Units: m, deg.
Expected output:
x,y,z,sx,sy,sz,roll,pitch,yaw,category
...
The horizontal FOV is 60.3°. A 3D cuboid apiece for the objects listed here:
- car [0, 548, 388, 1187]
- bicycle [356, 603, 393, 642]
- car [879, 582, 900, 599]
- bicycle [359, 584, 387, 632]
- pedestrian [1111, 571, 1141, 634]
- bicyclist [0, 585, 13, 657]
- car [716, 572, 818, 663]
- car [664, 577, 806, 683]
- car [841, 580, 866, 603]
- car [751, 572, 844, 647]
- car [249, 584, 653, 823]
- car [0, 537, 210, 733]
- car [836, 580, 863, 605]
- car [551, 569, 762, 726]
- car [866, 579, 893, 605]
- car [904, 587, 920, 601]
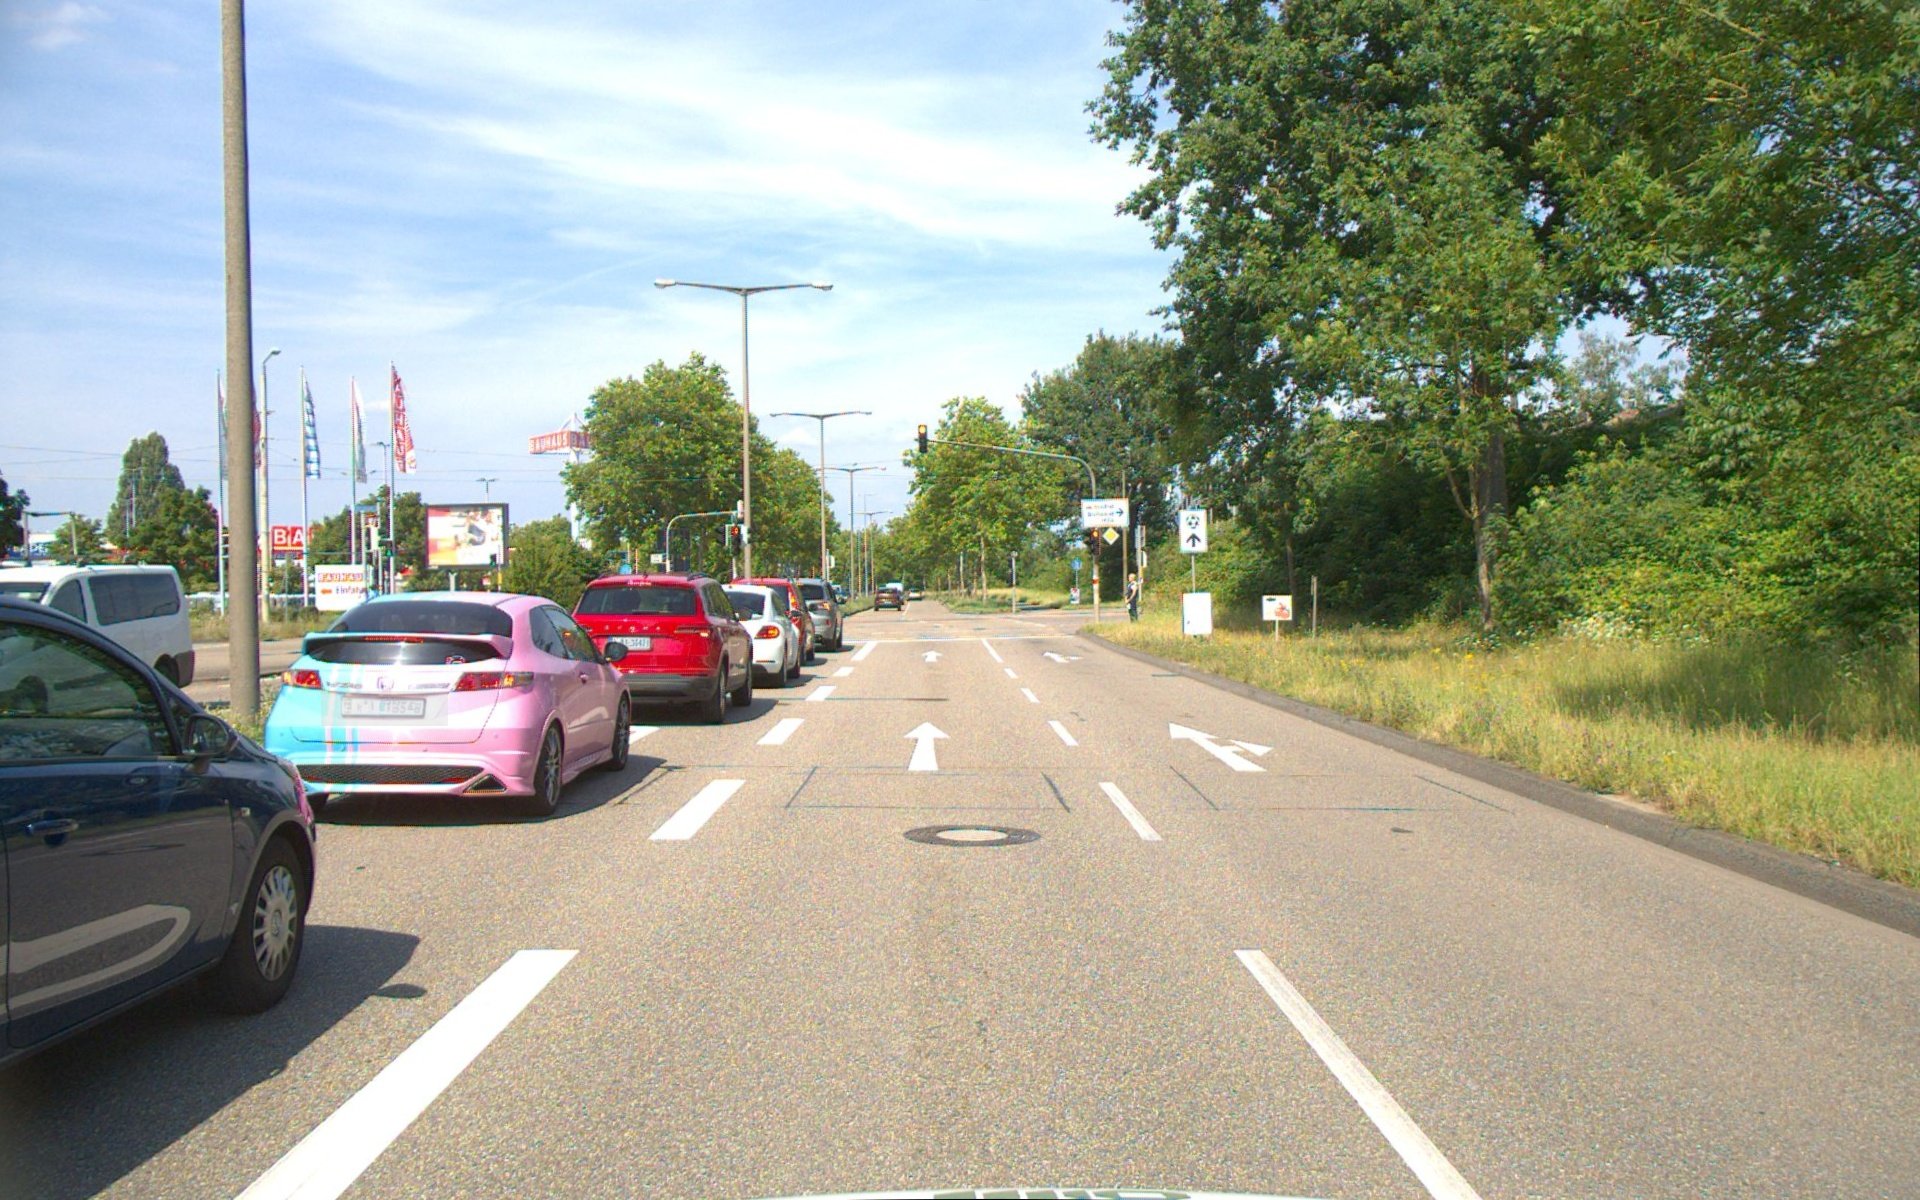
x,y,z,sx,sy,sz,roll,pitch,yaw,category
-3.076,0.615,4.661,1.593,1.509,4.047,1,0,-2,car
-20.422,0.773,57.724,0.659,1.278,2.244,-2,0,-6,bicycle
-7.252,-0.983,169.954,1.953,1.738,4.263,-1,0,-1,car
-20.427,0.264,57.556,0.659,1.643,0.991,-2,0,-6,bicycle
5.302,0.071,52.868,0.821,1.966,0.771,-1,2,-5,pedestrian
-23.940,0.526,40.779,0.890,1.745,0.772,-2,3,-37,bicyclist
-3.697,0.340,32.198,1.595,1.623,3.916,-1,-1,-2,car
-3.412,0.414,25.707,1.730,1.505,4.134,0,0,-2,car
-9.287,-0.722,144.513,1.953,1.928,4.375,-1,1,-1,car
-3.748,0.190,38.687,1.843,1.646,4.211,0,0,-2,car
-3.456,0.602,12.123,1.668,1.414,4.471,1,0,-2,car
-11.064,0.364,19.675,1.953,2.049,5.212,-1,1,-1,car
-8.661,-0.582,129.821,1.953,1.928,4.374,-1,1,-2,car
-3.423,0.470,19.467,1.746,1.620,4.592,0,0,-2,car
-5.514,-0.571,113.405,1.701,1.562,4.001,0,3,-1,car
-5.787,-0.690,200.682,1.830,1.601,3.999,-2,0,-1,car
